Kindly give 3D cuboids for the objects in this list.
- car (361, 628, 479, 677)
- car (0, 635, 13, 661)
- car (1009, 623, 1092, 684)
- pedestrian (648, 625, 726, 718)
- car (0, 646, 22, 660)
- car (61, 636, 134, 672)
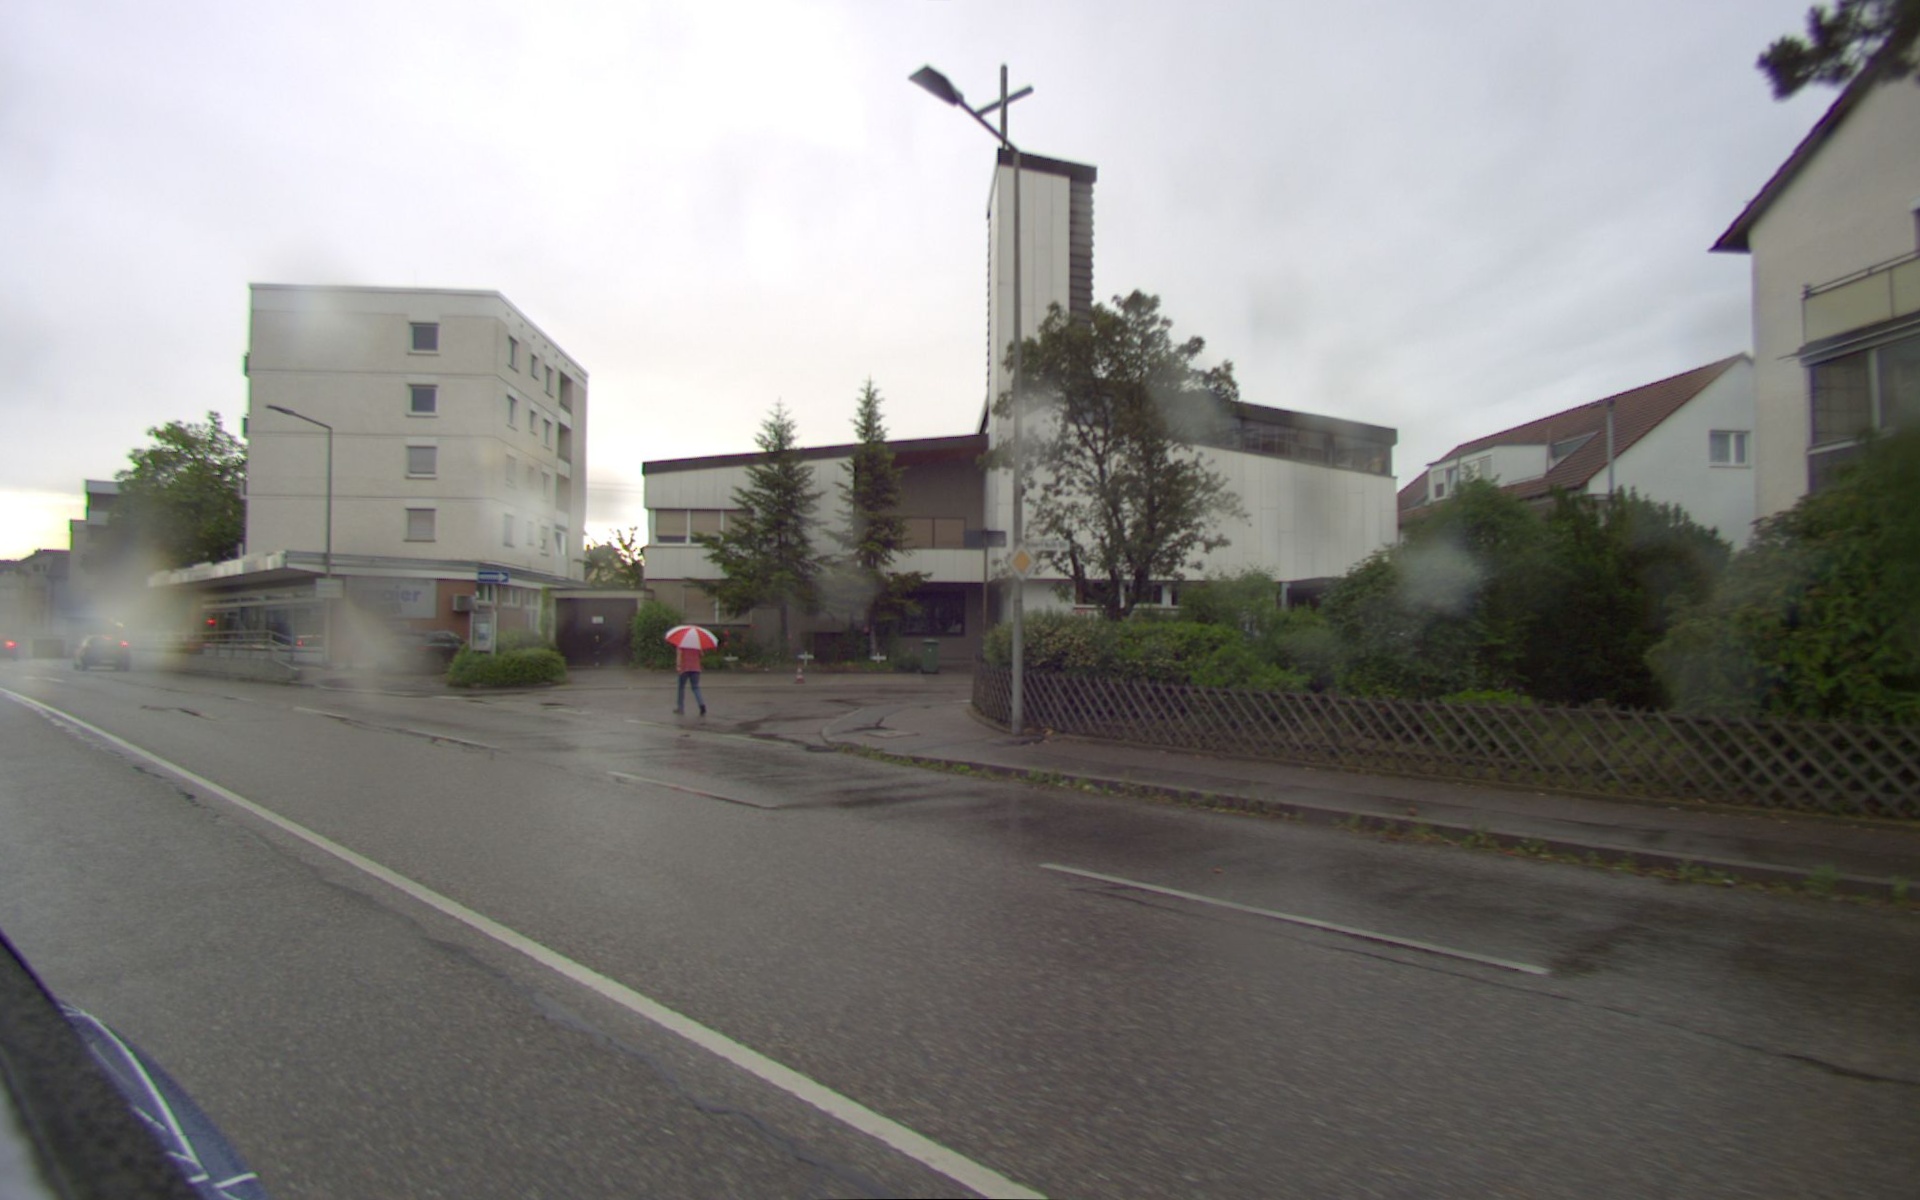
[{"bbox_3d":[-18.387,1.770,34.706,1.969,1.558,4.476,1,-2,-5],"label":"car"},{"bbox_3d":[-59.932,2.984,62.692,1.781,1.569,4.322,1,-3,-43],"label":"car"},{"bbox_3d":[2.539,1.510,29.472,2.103,1.627,4.384,0,-2,2],"label":"car"},{"bbox_3d":[-4.951,1.272,18.363,1.101,1.619,0.861,0,-2,36],"label":"pedestrian"},{"bbox_3d":[-105.617,5.842,110.540,1.930,1.508,4.559,-4,-4,44],"label":"car"},{"bbox_3d":[-36.557,2.293,42.866,3.997,1.420,1.680,-3,-6,41],"label":"car"}]
